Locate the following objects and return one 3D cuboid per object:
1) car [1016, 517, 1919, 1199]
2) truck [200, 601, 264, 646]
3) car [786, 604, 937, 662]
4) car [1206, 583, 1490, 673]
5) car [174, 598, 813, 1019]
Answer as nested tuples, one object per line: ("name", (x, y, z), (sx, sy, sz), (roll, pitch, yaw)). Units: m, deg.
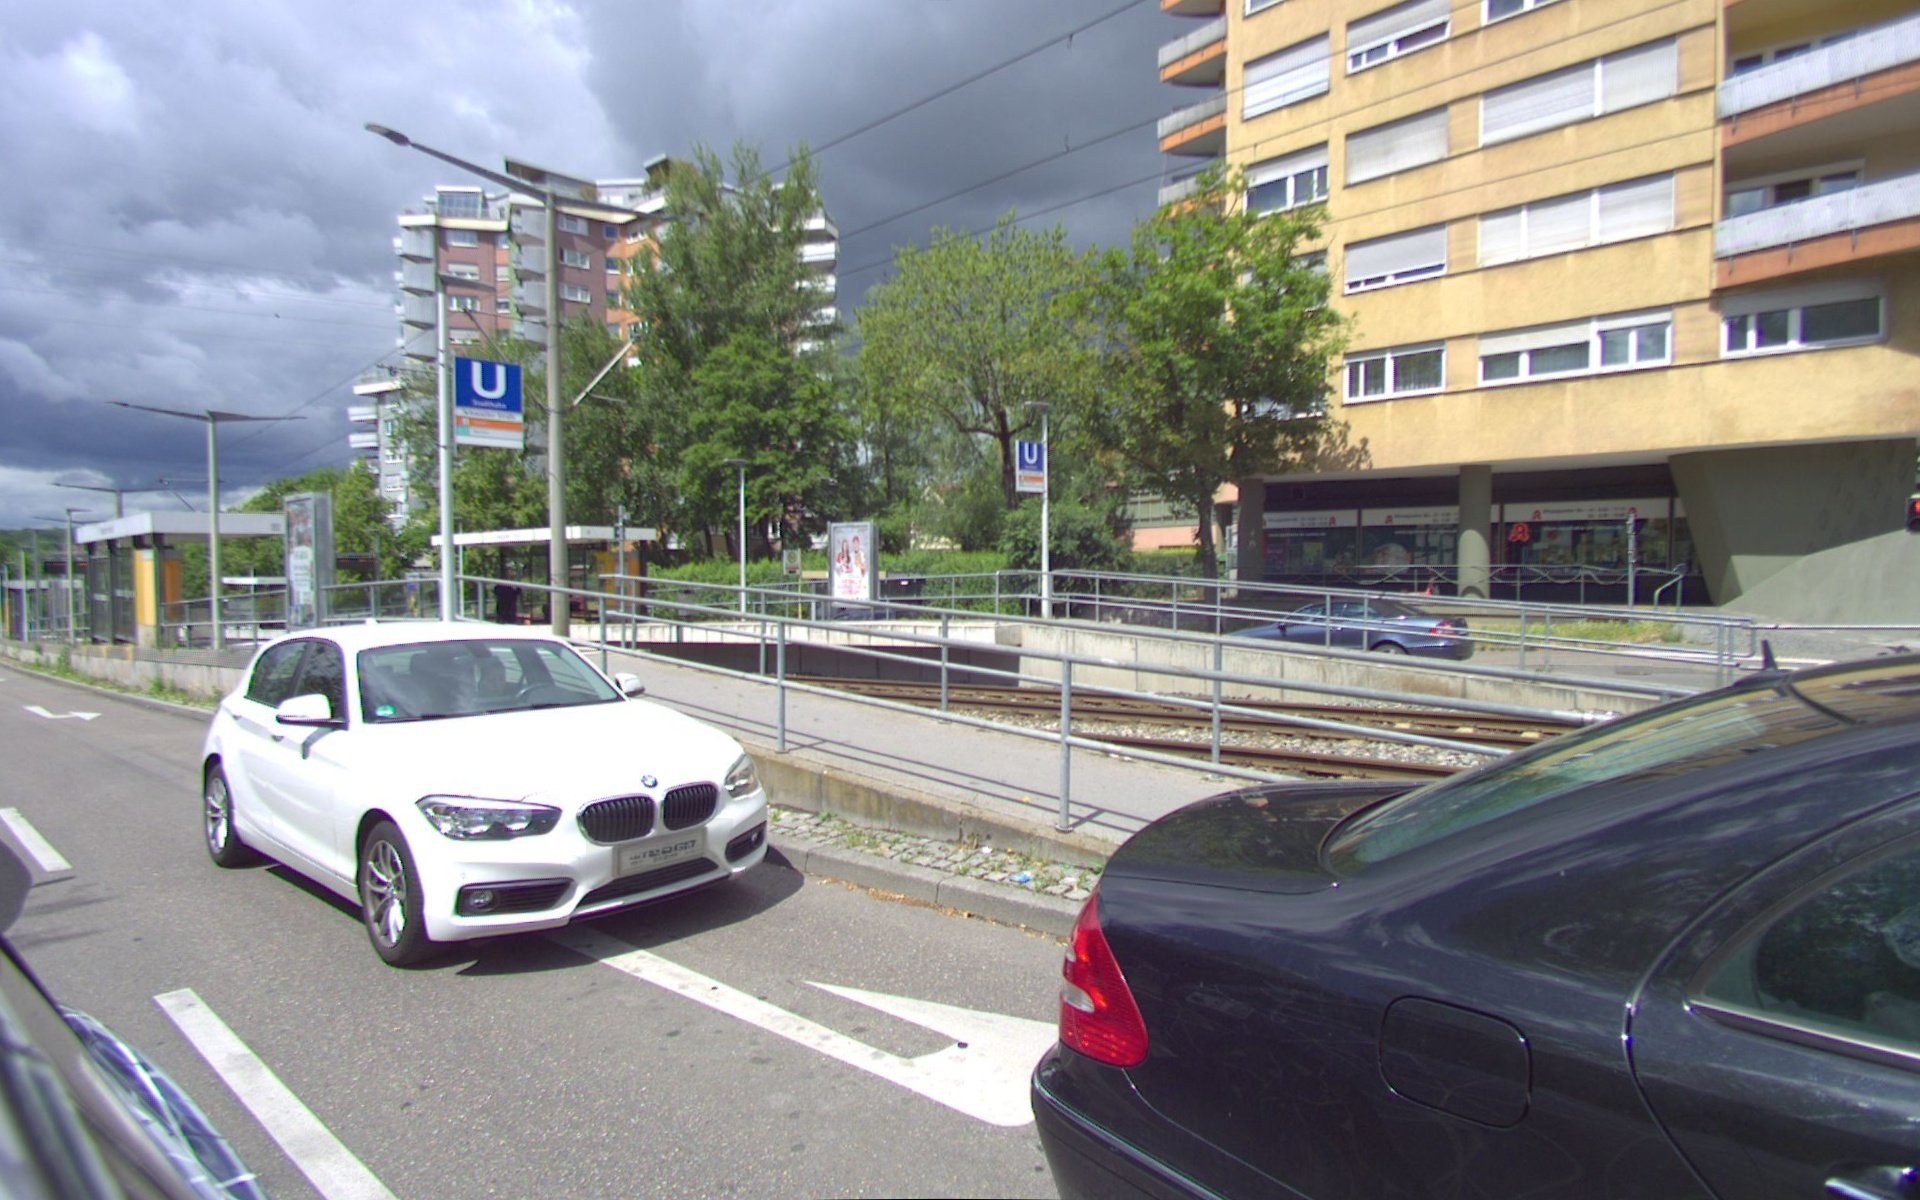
("car", (2.364, 0.632, 0.847), (4.542, 1.472, 1.710), (-1, 0, 41))
("truck", (-55.240, 1.830, 76.701), (7.260, 3.247, 2.389), (-2, -1, 42))
("car", (-2.708, 0.879, 27.114), (4.253, 1.424, 1.611), (-2, -1, 43))
("car", (6.844, 0.435, 18.141), (4.490, 1.410, 1.618), (0, 1, 40))
("car", (-2.772, 0.760, 5.554), (3.998, 1.472, 1.710), (-1, 0, 41))
